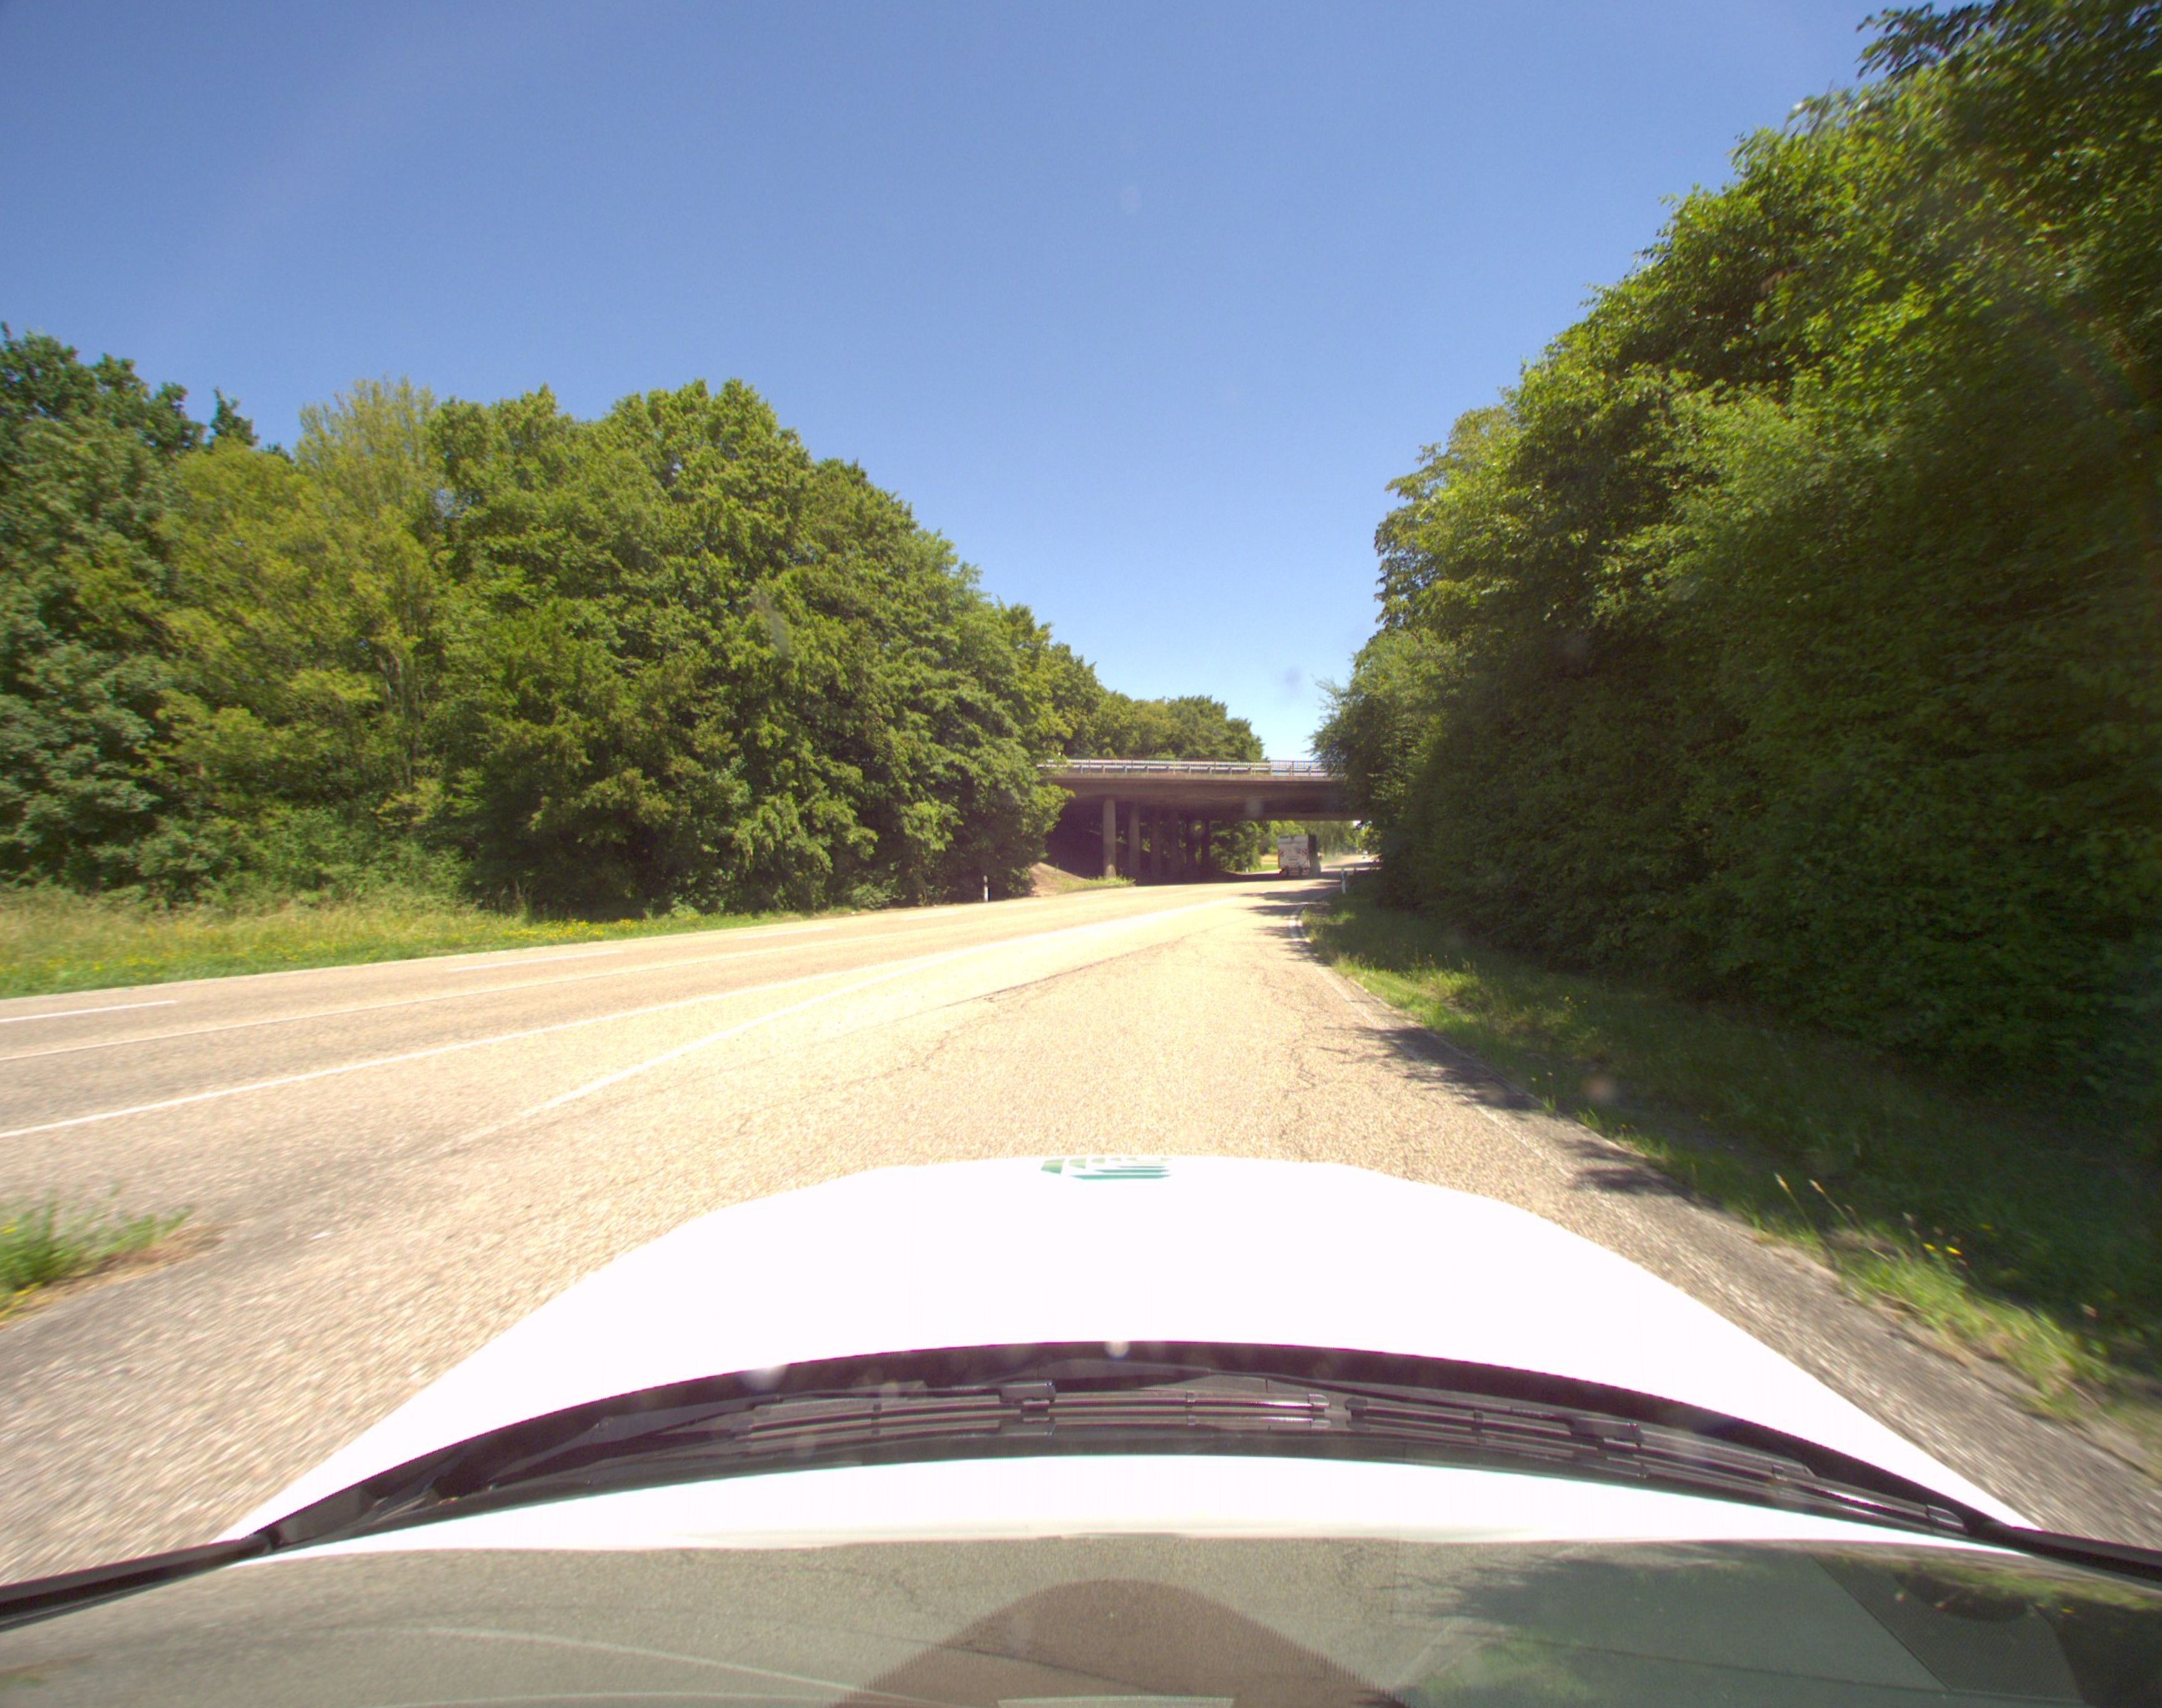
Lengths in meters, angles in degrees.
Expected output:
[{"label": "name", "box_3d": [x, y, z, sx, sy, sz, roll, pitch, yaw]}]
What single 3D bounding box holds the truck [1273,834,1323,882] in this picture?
[{"label": "truck", "box_3d": [14.625, 0.275, 54.647, 2.220, 2.985, 5.928, -2, -1, 24]}]
